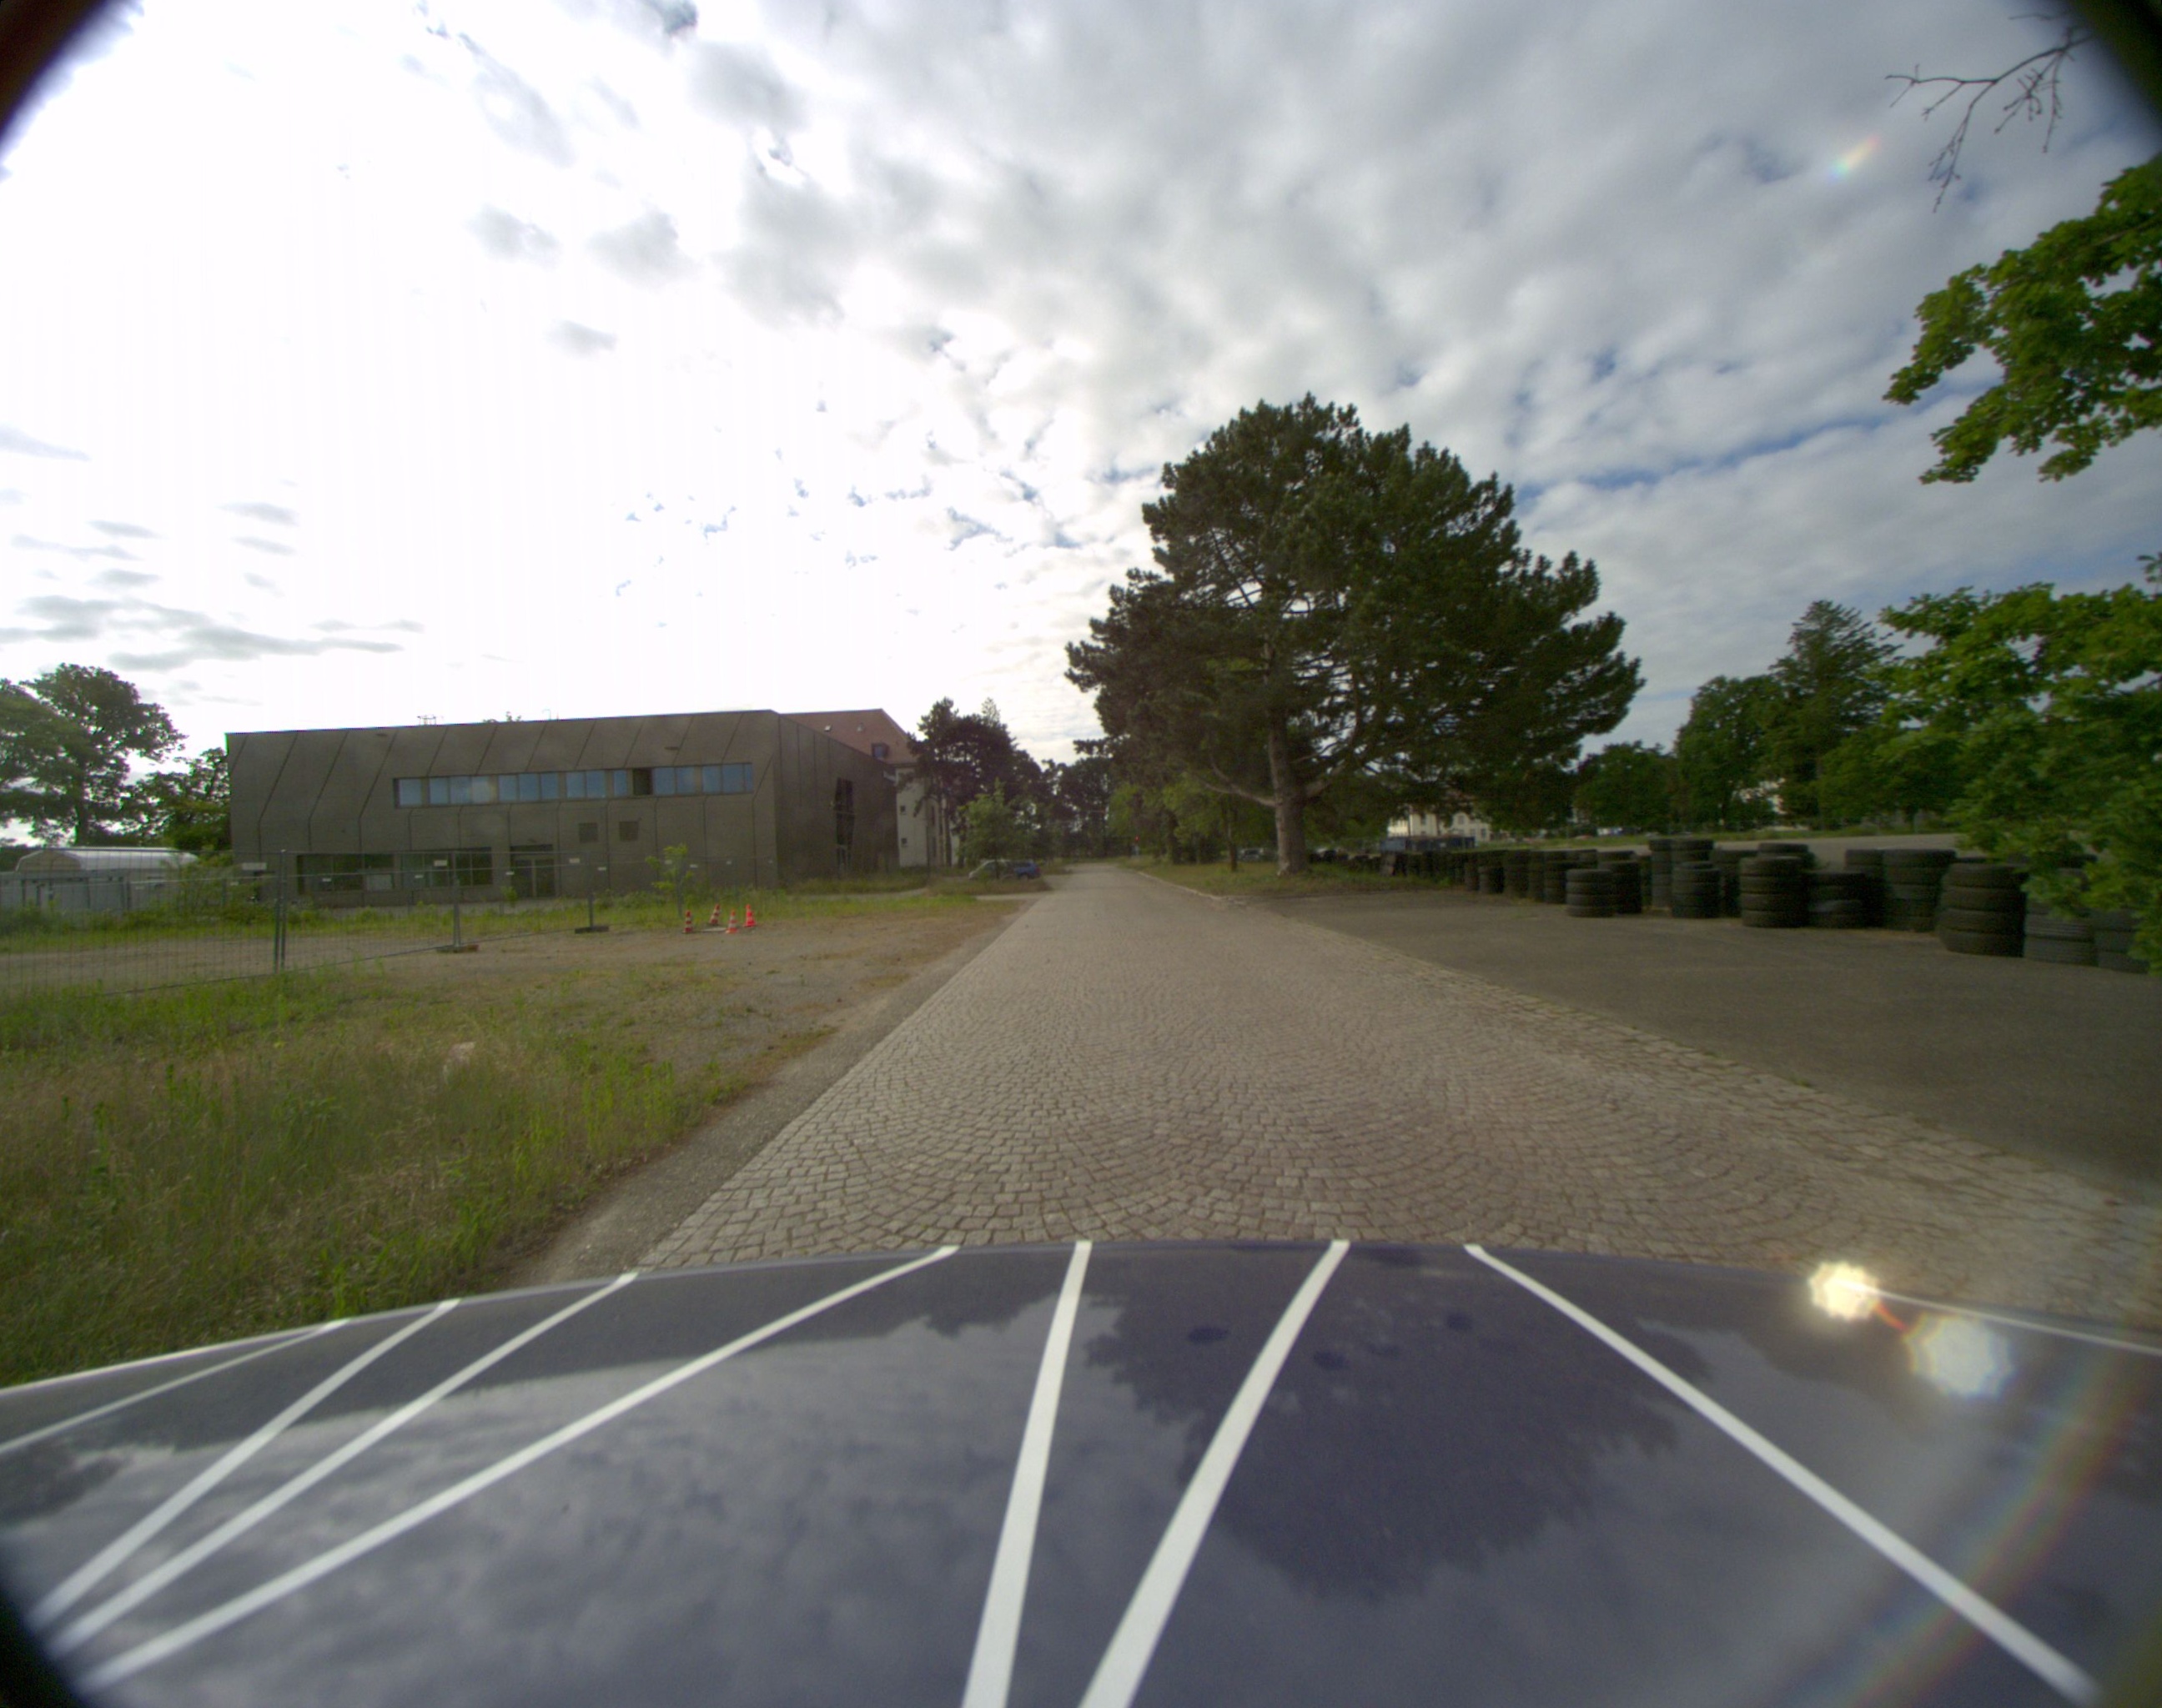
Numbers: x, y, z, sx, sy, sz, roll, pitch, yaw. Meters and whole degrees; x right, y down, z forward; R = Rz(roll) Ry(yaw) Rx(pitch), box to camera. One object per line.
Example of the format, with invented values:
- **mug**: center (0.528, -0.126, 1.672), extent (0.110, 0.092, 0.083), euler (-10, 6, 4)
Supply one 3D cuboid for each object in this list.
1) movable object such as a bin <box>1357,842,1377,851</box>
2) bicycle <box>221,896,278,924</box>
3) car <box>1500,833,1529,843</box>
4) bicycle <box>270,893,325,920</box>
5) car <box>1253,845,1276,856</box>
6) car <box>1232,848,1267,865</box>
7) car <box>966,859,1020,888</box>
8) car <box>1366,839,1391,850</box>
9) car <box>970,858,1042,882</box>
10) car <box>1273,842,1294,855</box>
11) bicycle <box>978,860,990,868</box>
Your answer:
- **movable object such as a bin**: center (33.608, -0.866, 89.242), extent (1.447, 0.963, 1.957), euler (-3, 0, -7)
- **bicycle**: center (-37.020, 2.492, 33.860), extent (0.511, 1.079, 1.658), euler (-3, 0, 10)
- **car**: center (64.227, -2.367, 112.584), extent (1.711, 1.343, 4.402), euler (-3, 0, 0)
- **bicycle**: center (-34.757, 2.315, 33.736), extent (0.511, 1.079, 1.658), euler (-3, 0, 10)
- **car**: center (24.521, -0.443, 101.459), extent (1.829, 1.417, 4.319), euler (-3, 0, -2)
- **car**: center (14.186, 0.207, 64.163), extent (1.829, 1.408, 4.420), euler (0, 0, -2)
- **car**: center (-4.906, 1.087, 42.534), extent (2.716, 1.547, 1.654), euler (-1, 0, 3)
- **car**: center (44.245, -1.450, 113.000), extent (1.829, 1.466, 4.401), euler (-3, 0, -2)
- **car**: center (-4.866, 1.005, 49.806), extent (4.502, 1.467, 1.830), euler (-1, 0, -2)
- **car**: center (27.022, -0.663, 101.493), extent (1.674, 1.510, 3.899), euler (-3, -2, -2)
- **bicycle**: center (-13.776, 1.370, 108.161), extent (1.656, 1.079, 0.614), euler (-3, 1, -3)
